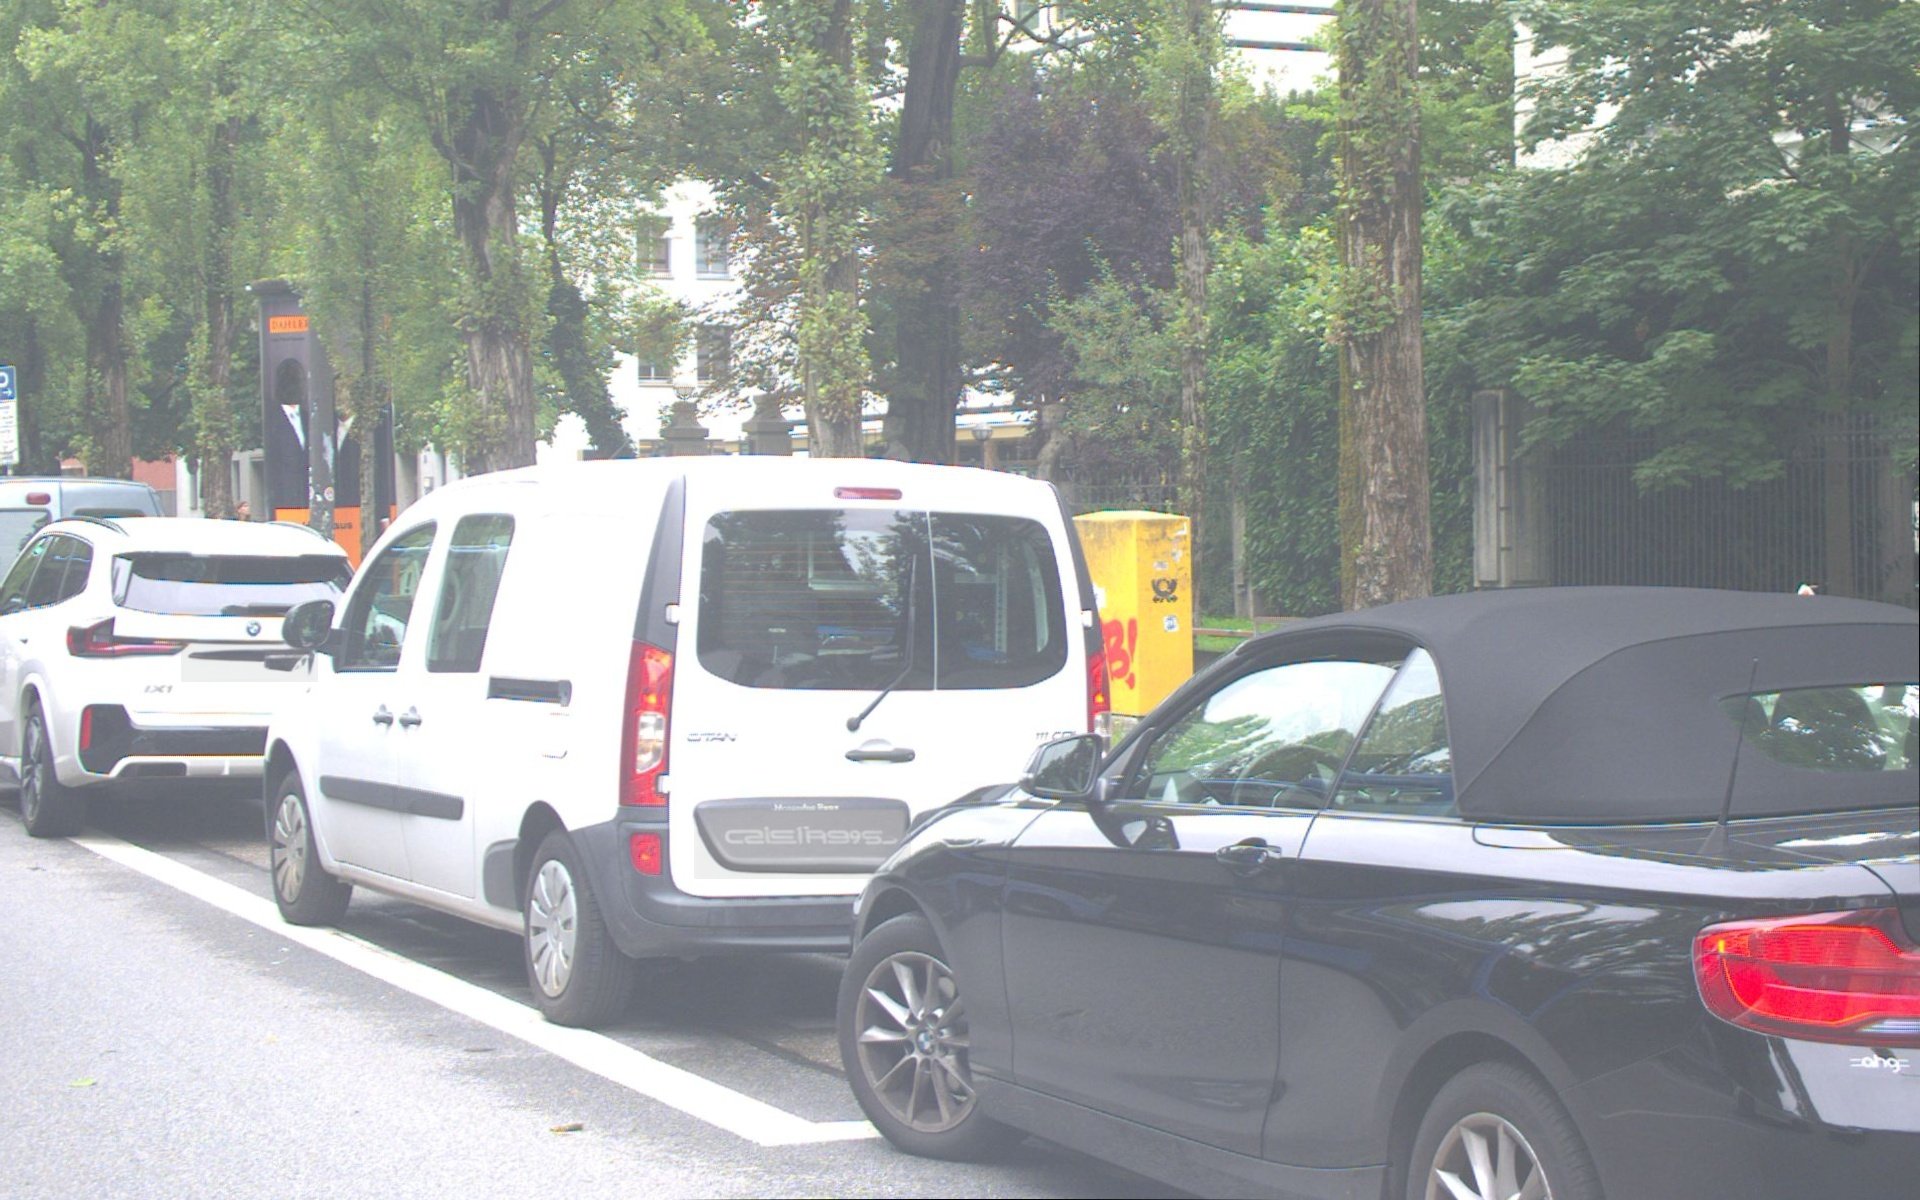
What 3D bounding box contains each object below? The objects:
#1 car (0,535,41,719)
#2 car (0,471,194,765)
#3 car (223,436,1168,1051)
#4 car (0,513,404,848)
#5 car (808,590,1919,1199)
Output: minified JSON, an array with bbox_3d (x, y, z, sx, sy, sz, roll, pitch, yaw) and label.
[{"bbox_3d":[-9.118,0.187,29.129,1.798,1.470,4.001,-1,2,-26],"label":"car"},{"bbox_3d":[-6.474,0.071,23.367,1.703,1.829,4.001,1,1,-24],"label":"car"},{"bbox_3d":[-1.141,0.388,12.167,1.833,1.767,4.231,1,1,-26],"label":"car"},{"bbox_3d":[-4.404,0.348,18.529,1.677,1.590,4.088,1,1,-25],"label":"car"},{"bbox_3d":[1.237,0.699,7.090,1.746,1.349,4.001,0,1,-24],"label":"car"}]
